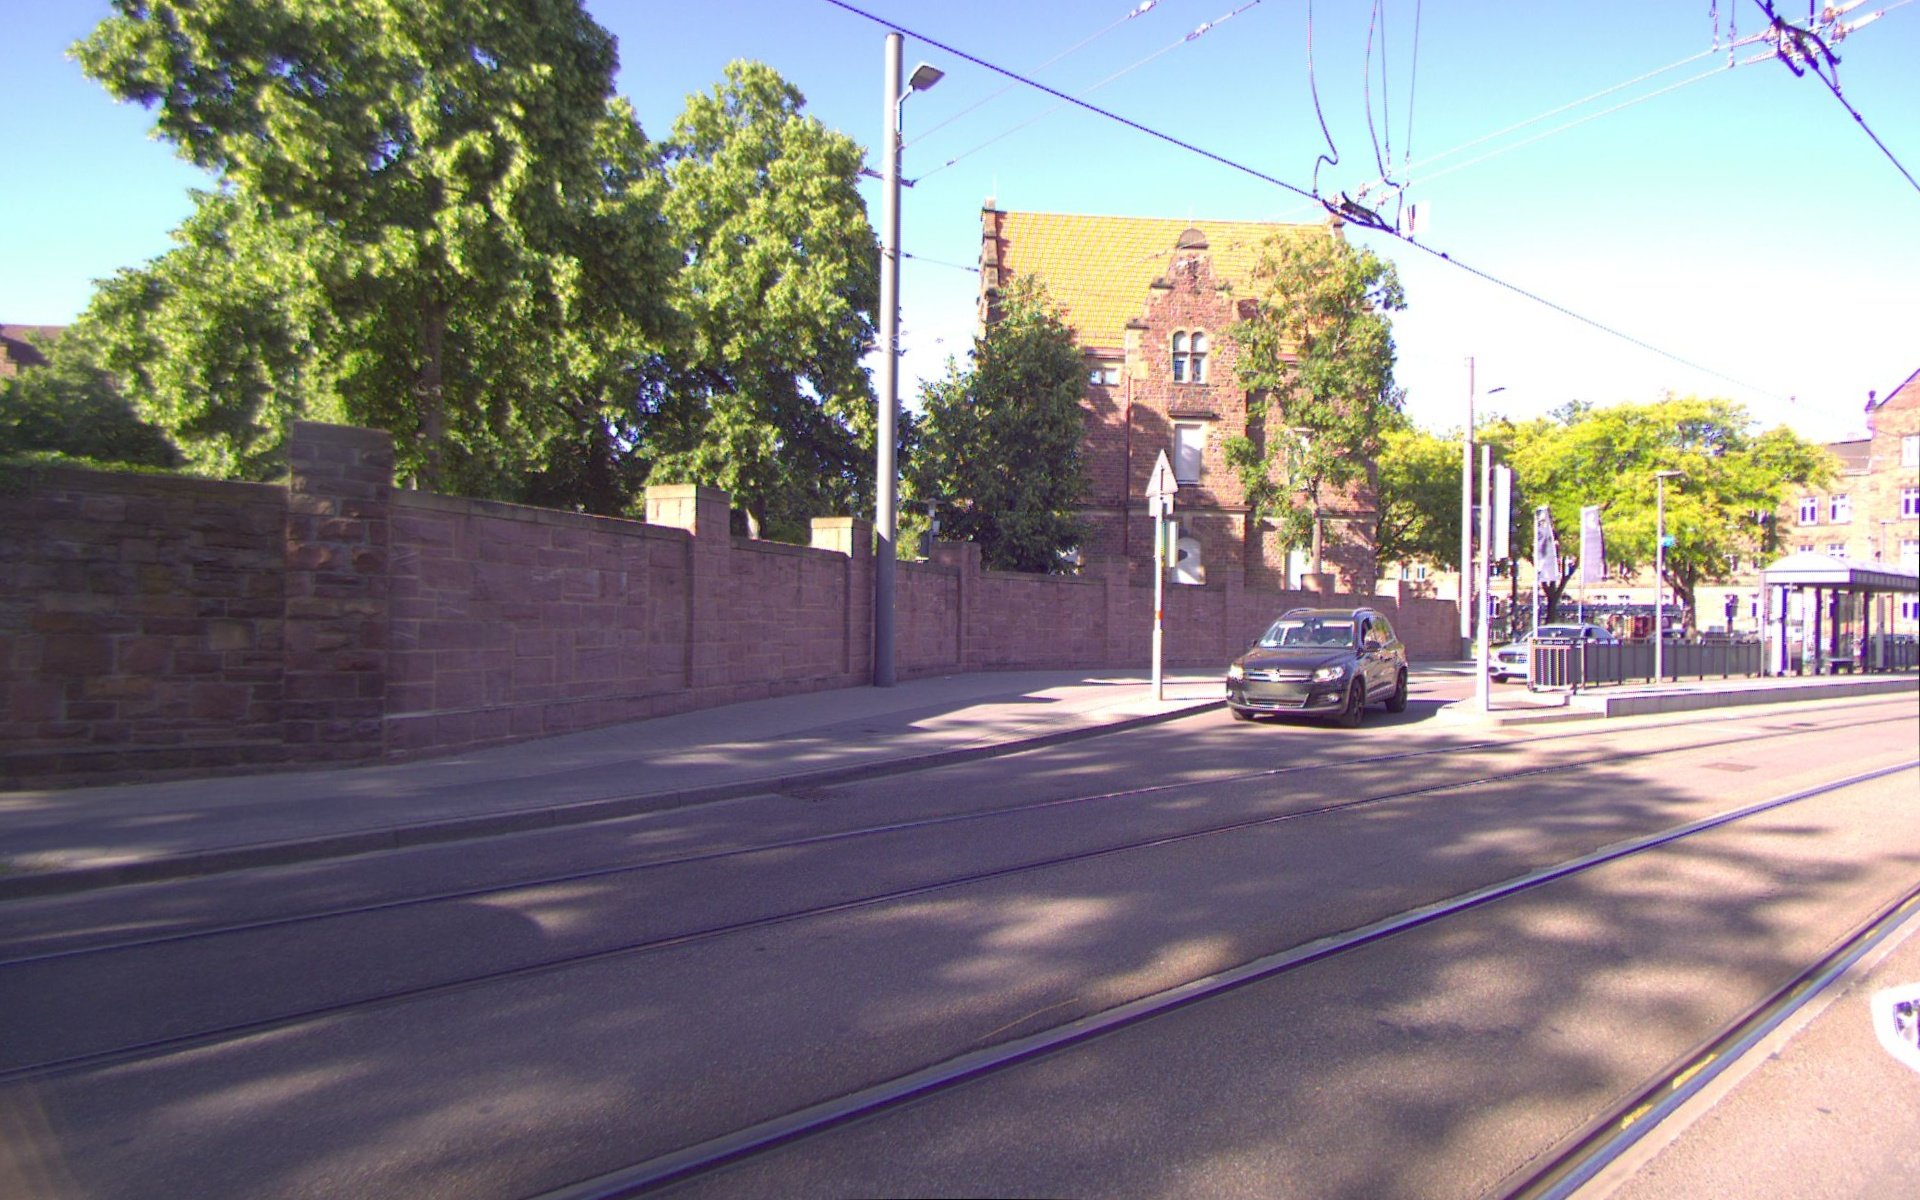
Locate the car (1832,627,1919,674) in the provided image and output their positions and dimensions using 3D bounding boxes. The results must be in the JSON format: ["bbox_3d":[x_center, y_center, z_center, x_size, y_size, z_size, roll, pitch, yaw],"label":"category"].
[{"bbox_3d":[35.954,2.011,39.082,3.939,1.420,1.847,6,-10,-31],"label":"car"}]

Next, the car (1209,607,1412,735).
[{"bbox_3d":[5.444,0.986,15.276,1.773,1.659,4.104,-1,-2,37],"label":"car"}]

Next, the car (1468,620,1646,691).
[{"bbox_3d":[14.544,1.280,24.420,4.573,1.434,1.873,-1,0,-32],"label":"car"}]

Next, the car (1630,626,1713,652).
[{"bbox_3d":[46.803,2.568,66.109,1.856,1.542,4.044,2,-1,-30],"label":"car"}]

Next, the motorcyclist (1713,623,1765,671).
[{"bbox_3d":[25.809,1.545,33.289,1.045,1.545,1.116,2,0,-36],"label":"motorcyclist"}]

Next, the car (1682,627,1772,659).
[{"bbox_3d":[45.046,2.499,59.055,1.730,1.682,3.839,2,-1,-30],"label":"car"}]

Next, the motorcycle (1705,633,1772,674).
[{"bbox_3d":[25.811,1.759,33.292,2.549,1.260,1.122,2,-1,-37],"label":"motorcycle"}]
